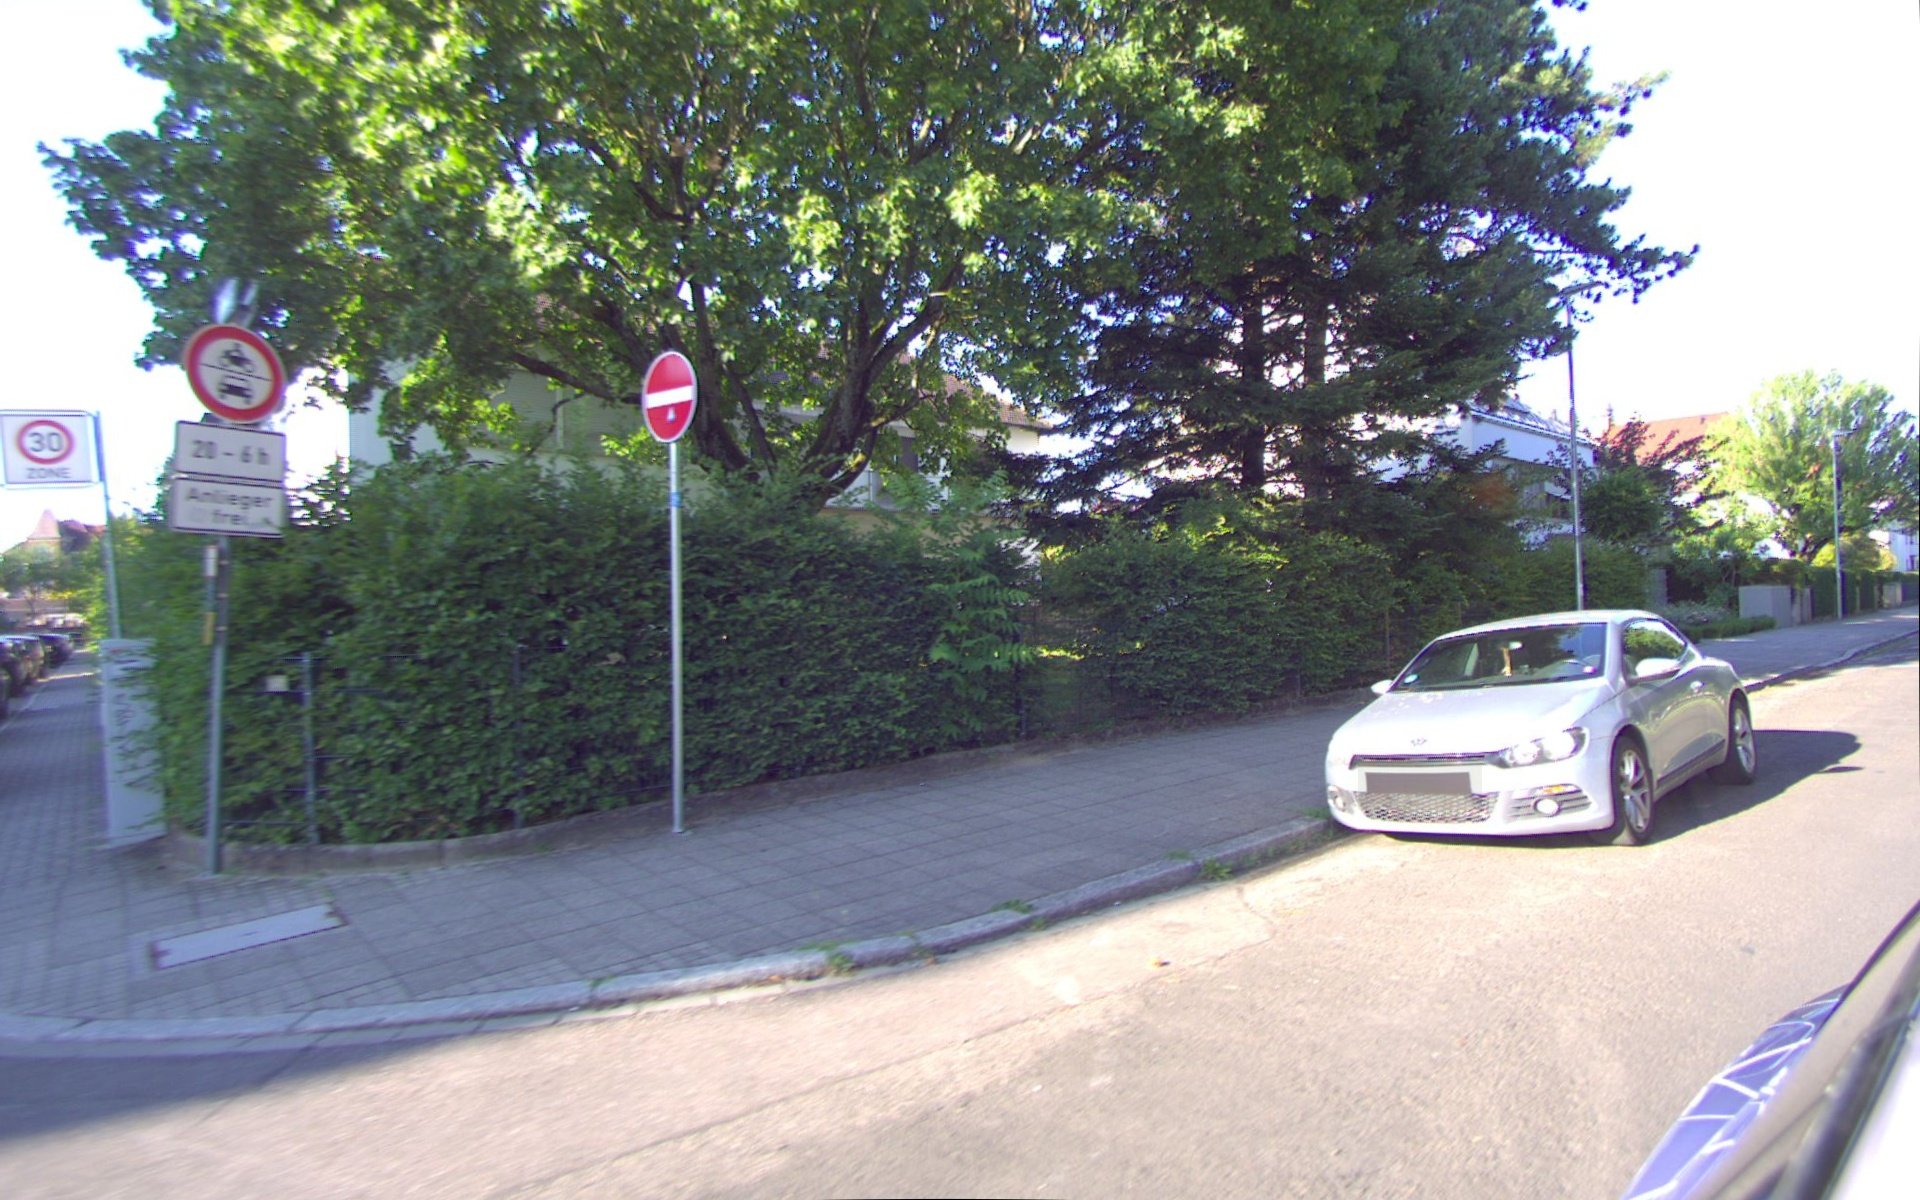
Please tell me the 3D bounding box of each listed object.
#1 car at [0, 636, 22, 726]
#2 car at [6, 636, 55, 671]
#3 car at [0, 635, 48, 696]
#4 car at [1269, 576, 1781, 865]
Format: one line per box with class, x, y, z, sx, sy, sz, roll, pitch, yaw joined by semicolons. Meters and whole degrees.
car;-19.837;1.669;19.976;1.754;1.643;4.248;-9;4;-43
car;-47.313;2.689;51.484;1.751;1.645;4.248;-2;-1;-43
car;-27.373;1.855;29.041;1.750;1.646;4.250;0;-2;-42
car;4.168;0.707;7.210;4.001;1.439;1.758;-2;-7;-41
